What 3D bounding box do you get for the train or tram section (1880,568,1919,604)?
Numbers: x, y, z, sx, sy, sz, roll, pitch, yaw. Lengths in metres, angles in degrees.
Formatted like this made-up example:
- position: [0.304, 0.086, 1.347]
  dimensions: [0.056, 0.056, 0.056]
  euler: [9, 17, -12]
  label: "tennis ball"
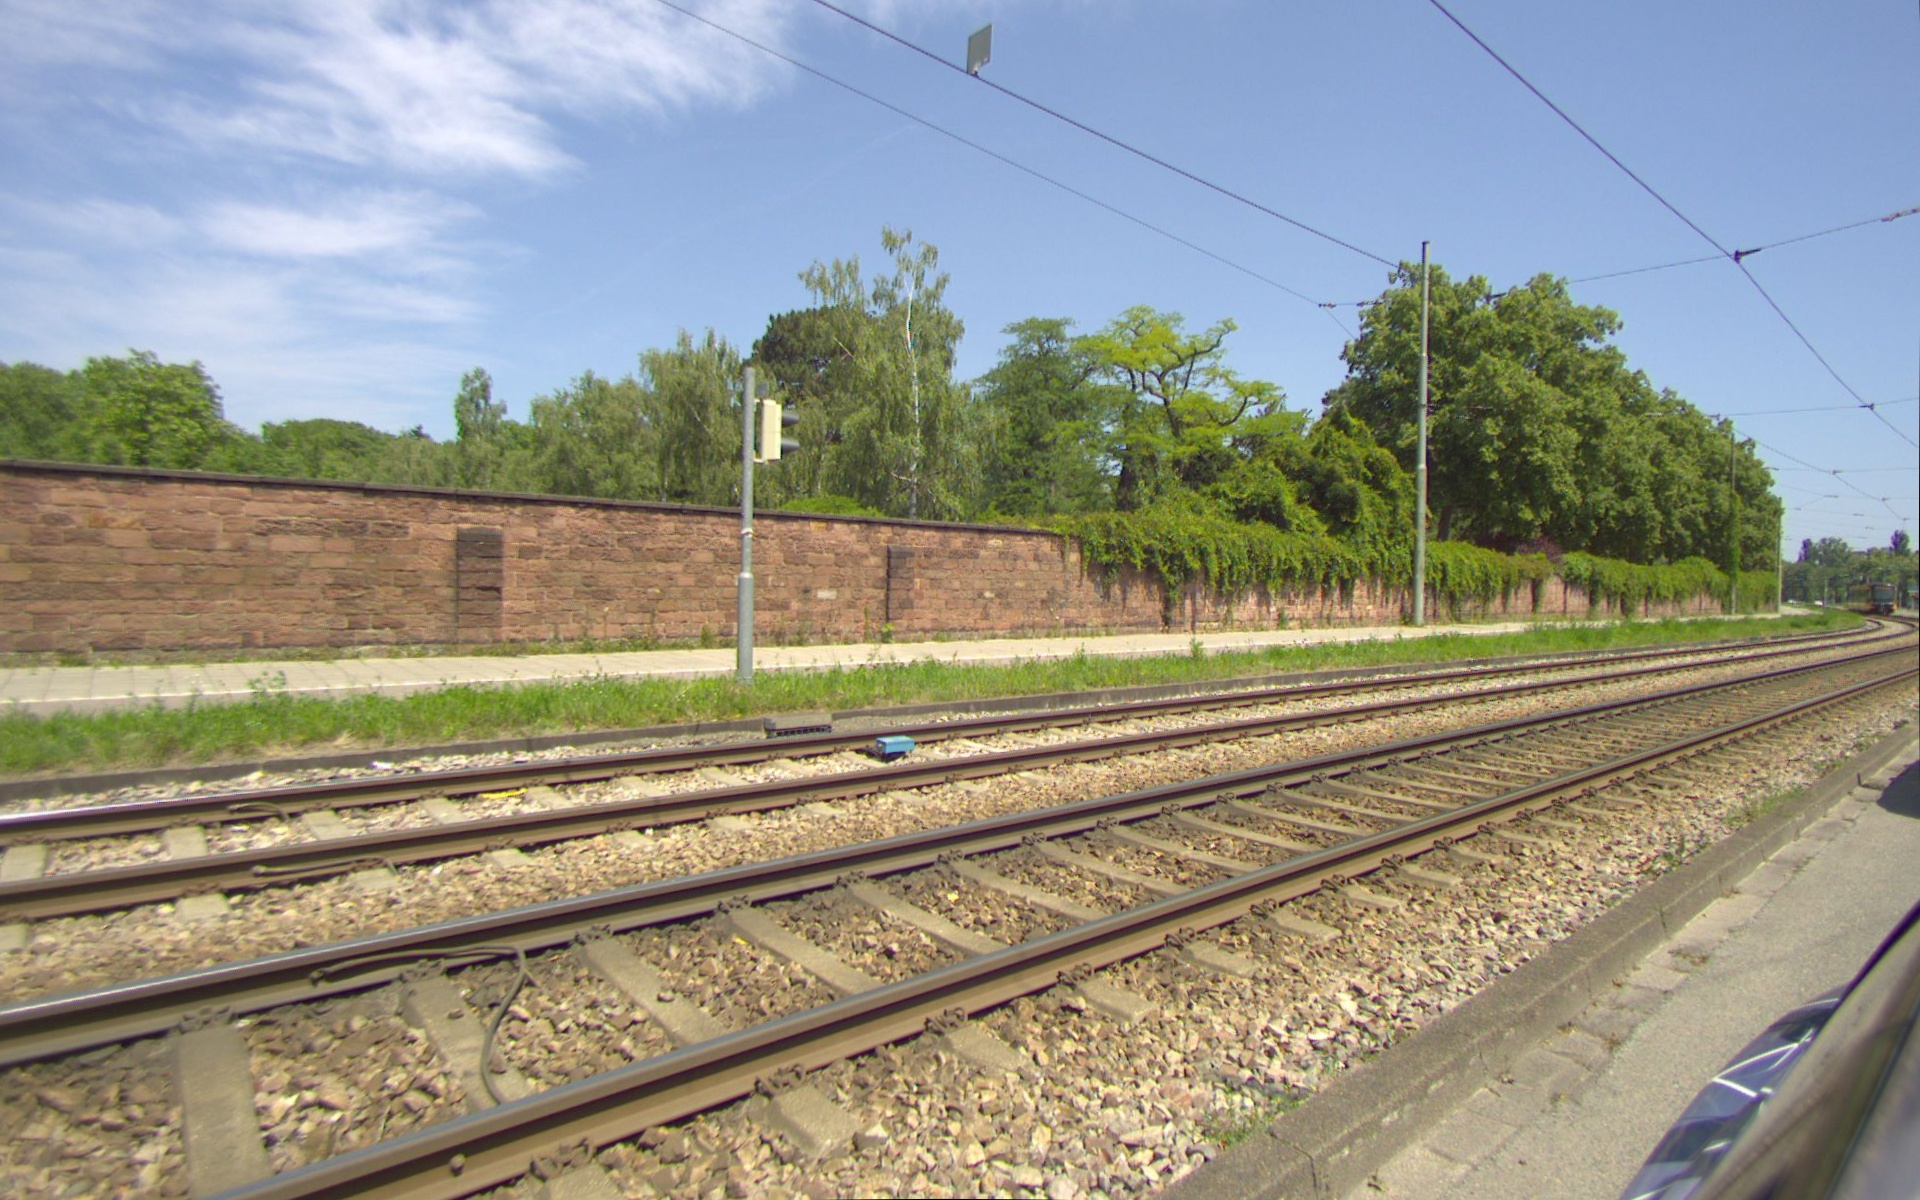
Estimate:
- position: [108.249, -1.620, 116.492]
  dimensions: [2.807, 3.855, 14.032]
  euler: [1, 1, 45]
  label: "train or tram section"
